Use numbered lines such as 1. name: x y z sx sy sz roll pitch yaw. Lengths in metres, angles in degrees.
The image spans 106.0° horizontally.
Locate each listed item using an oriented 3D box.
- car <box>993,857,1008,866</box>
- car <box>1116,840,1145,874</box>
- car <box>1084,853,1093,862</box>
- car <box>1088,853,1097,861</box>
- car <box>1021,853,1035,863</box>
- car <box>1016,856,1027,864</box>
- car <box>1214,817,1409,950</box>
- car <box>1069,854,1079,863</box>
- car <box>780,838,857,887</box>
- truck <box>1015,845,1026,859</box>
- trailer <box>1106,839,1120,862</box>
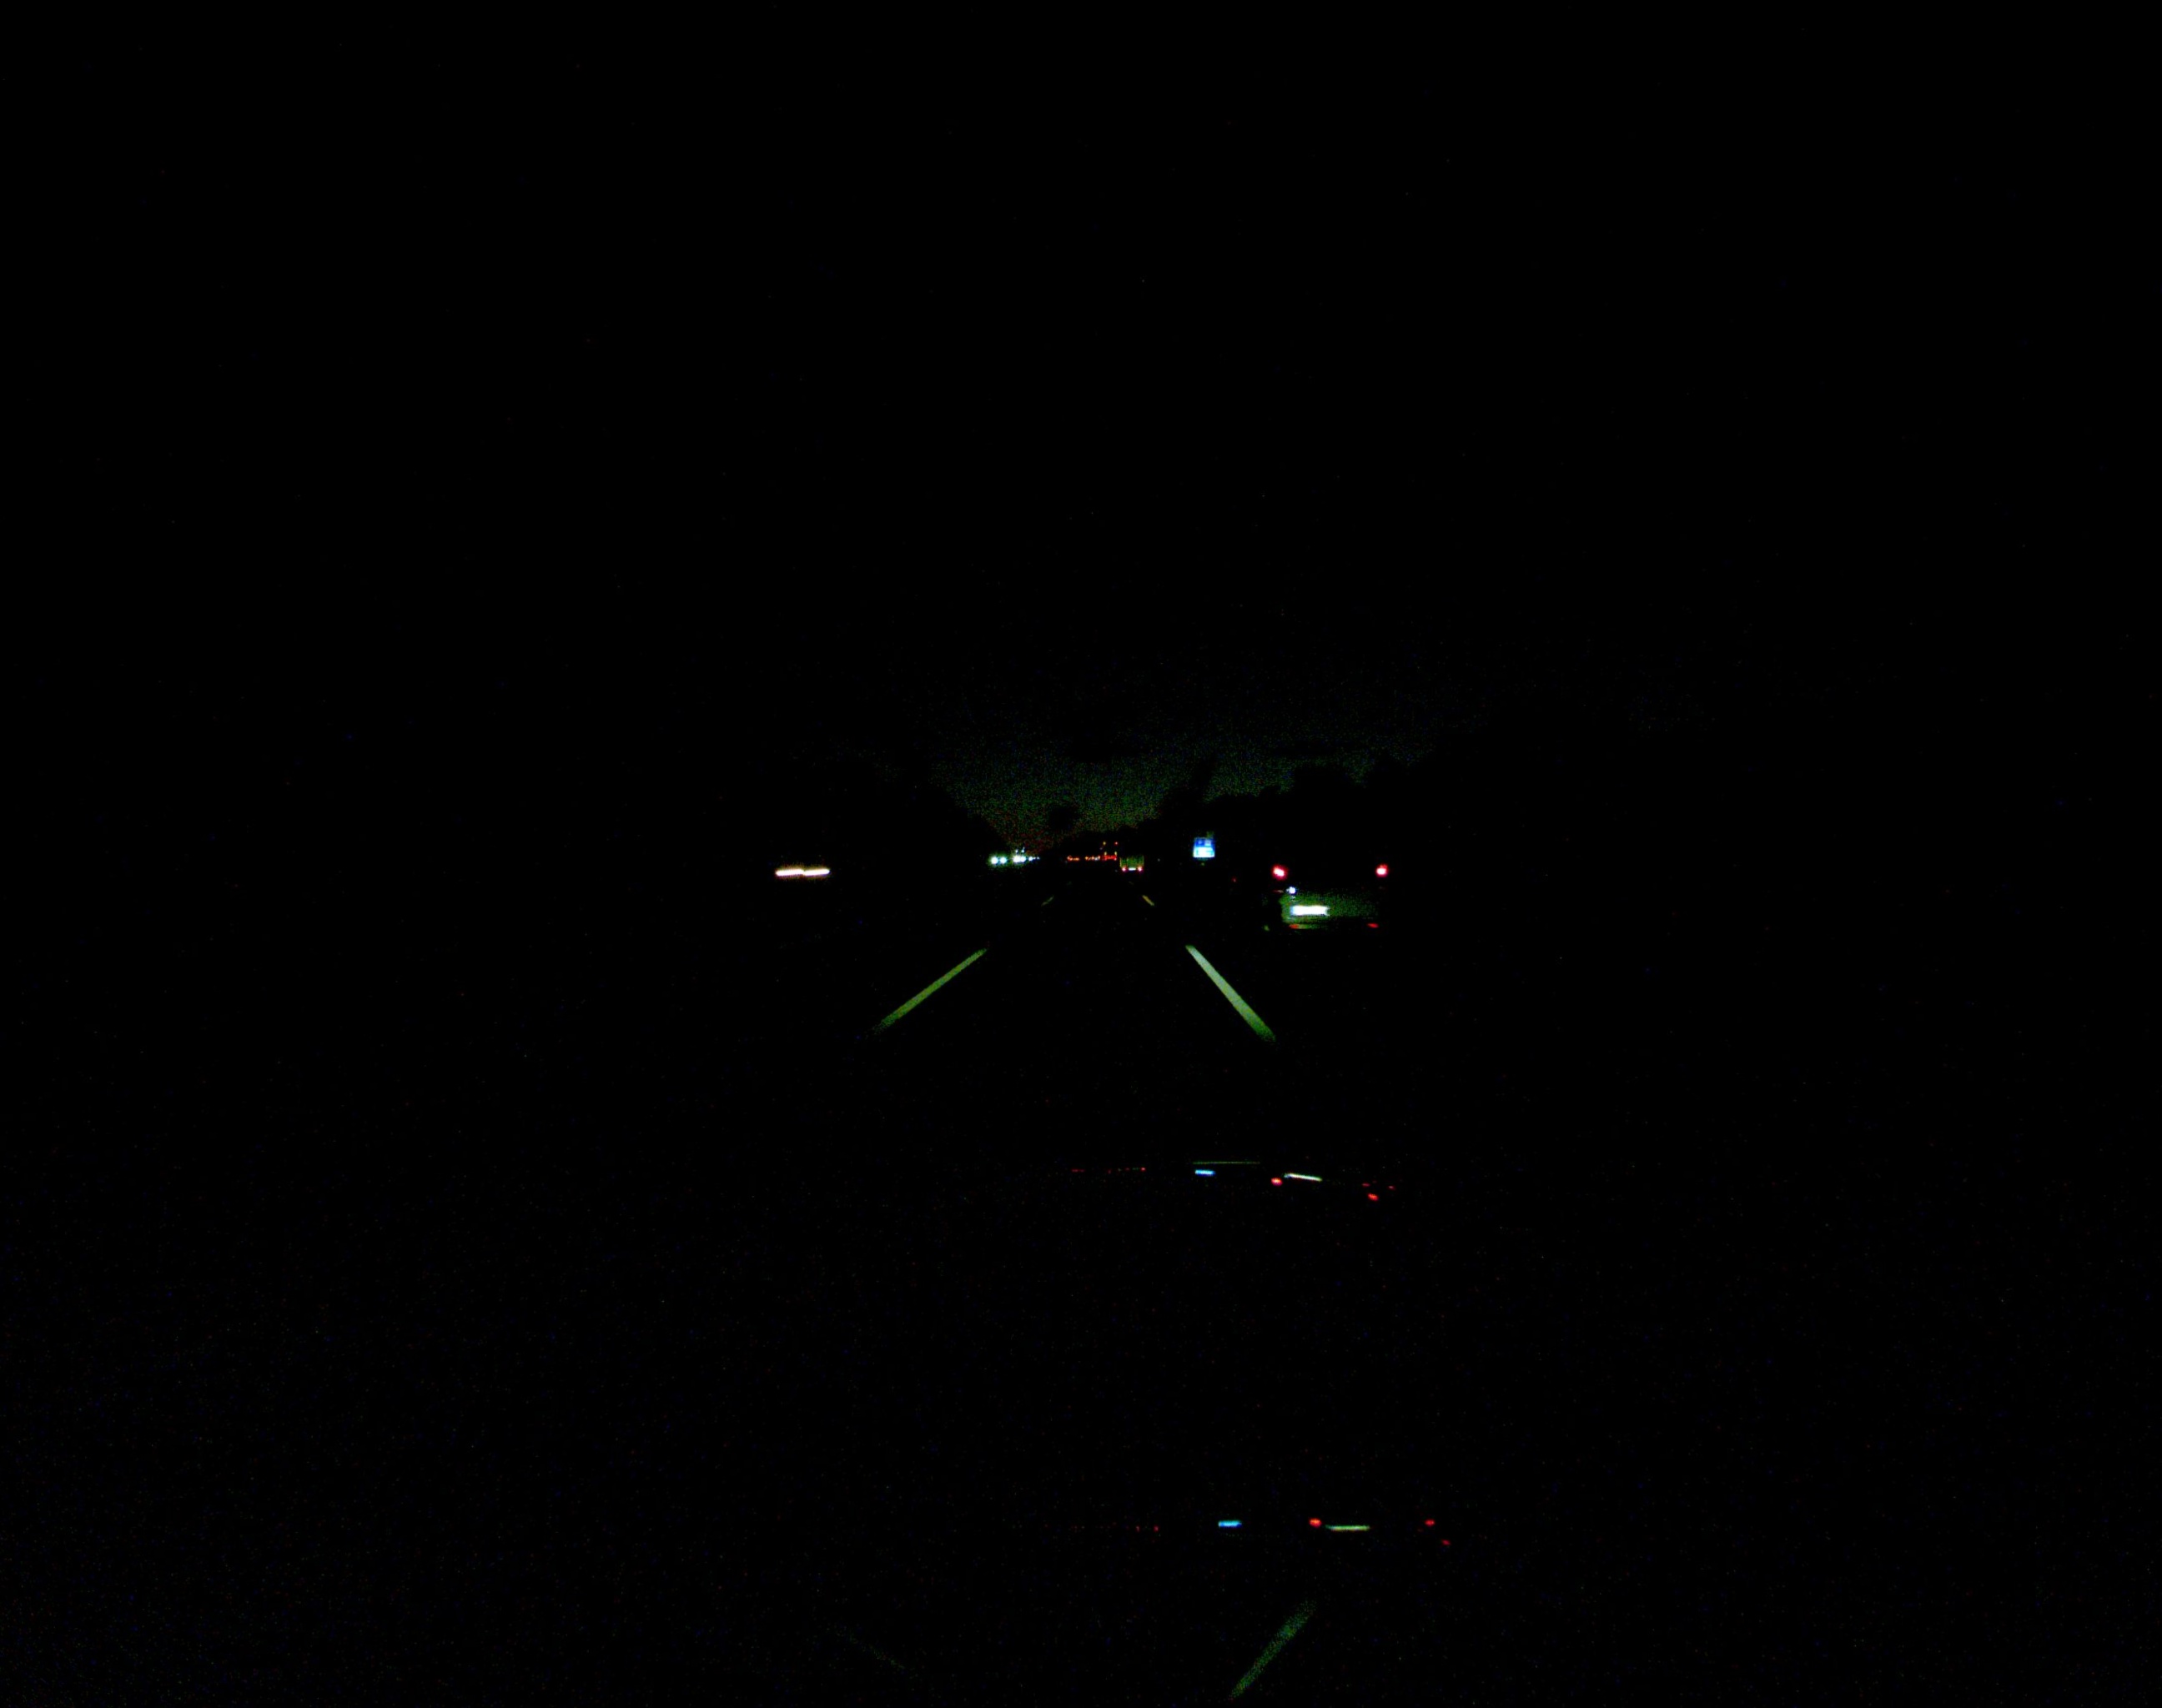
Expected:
1. car: -13.598 1.217 137.509 2.004 1.467 4.208 0 0 0
2. car: 4.072 0.258 67.461 2.026 2.647 5.723 0 -1 0
3. car: 1.698 0.753 182.002 1.987 1.794 3.998 0 -2 0
4. car: 3.122 0.767 217.130 1.989 2.117 3.994 0 -2 -4
5. car: -9.194 0.770 142.669 2.003 1.670 4.485 -1 0 2
6. car: -13.589 1.384 185.597 2.003 1.669 4.950 0 0 2
7. car: 3.960 0.472 15.202 2.108 2.001 5.664 0 -1 1
8. car: -1.367 0.920 161.325 1.988 1.794 3.998 0 -2 -1
9. car: -14.377 0.439 45.102 2.093 2.517 6.217 0 0 1
10. truck: -18.125 -0.585 245.526 2.845 3.980 5.858 0 0 0
11. trailer: 6.727 -0.705 174.485 2.819 4.257 17.051 0 -2 2
